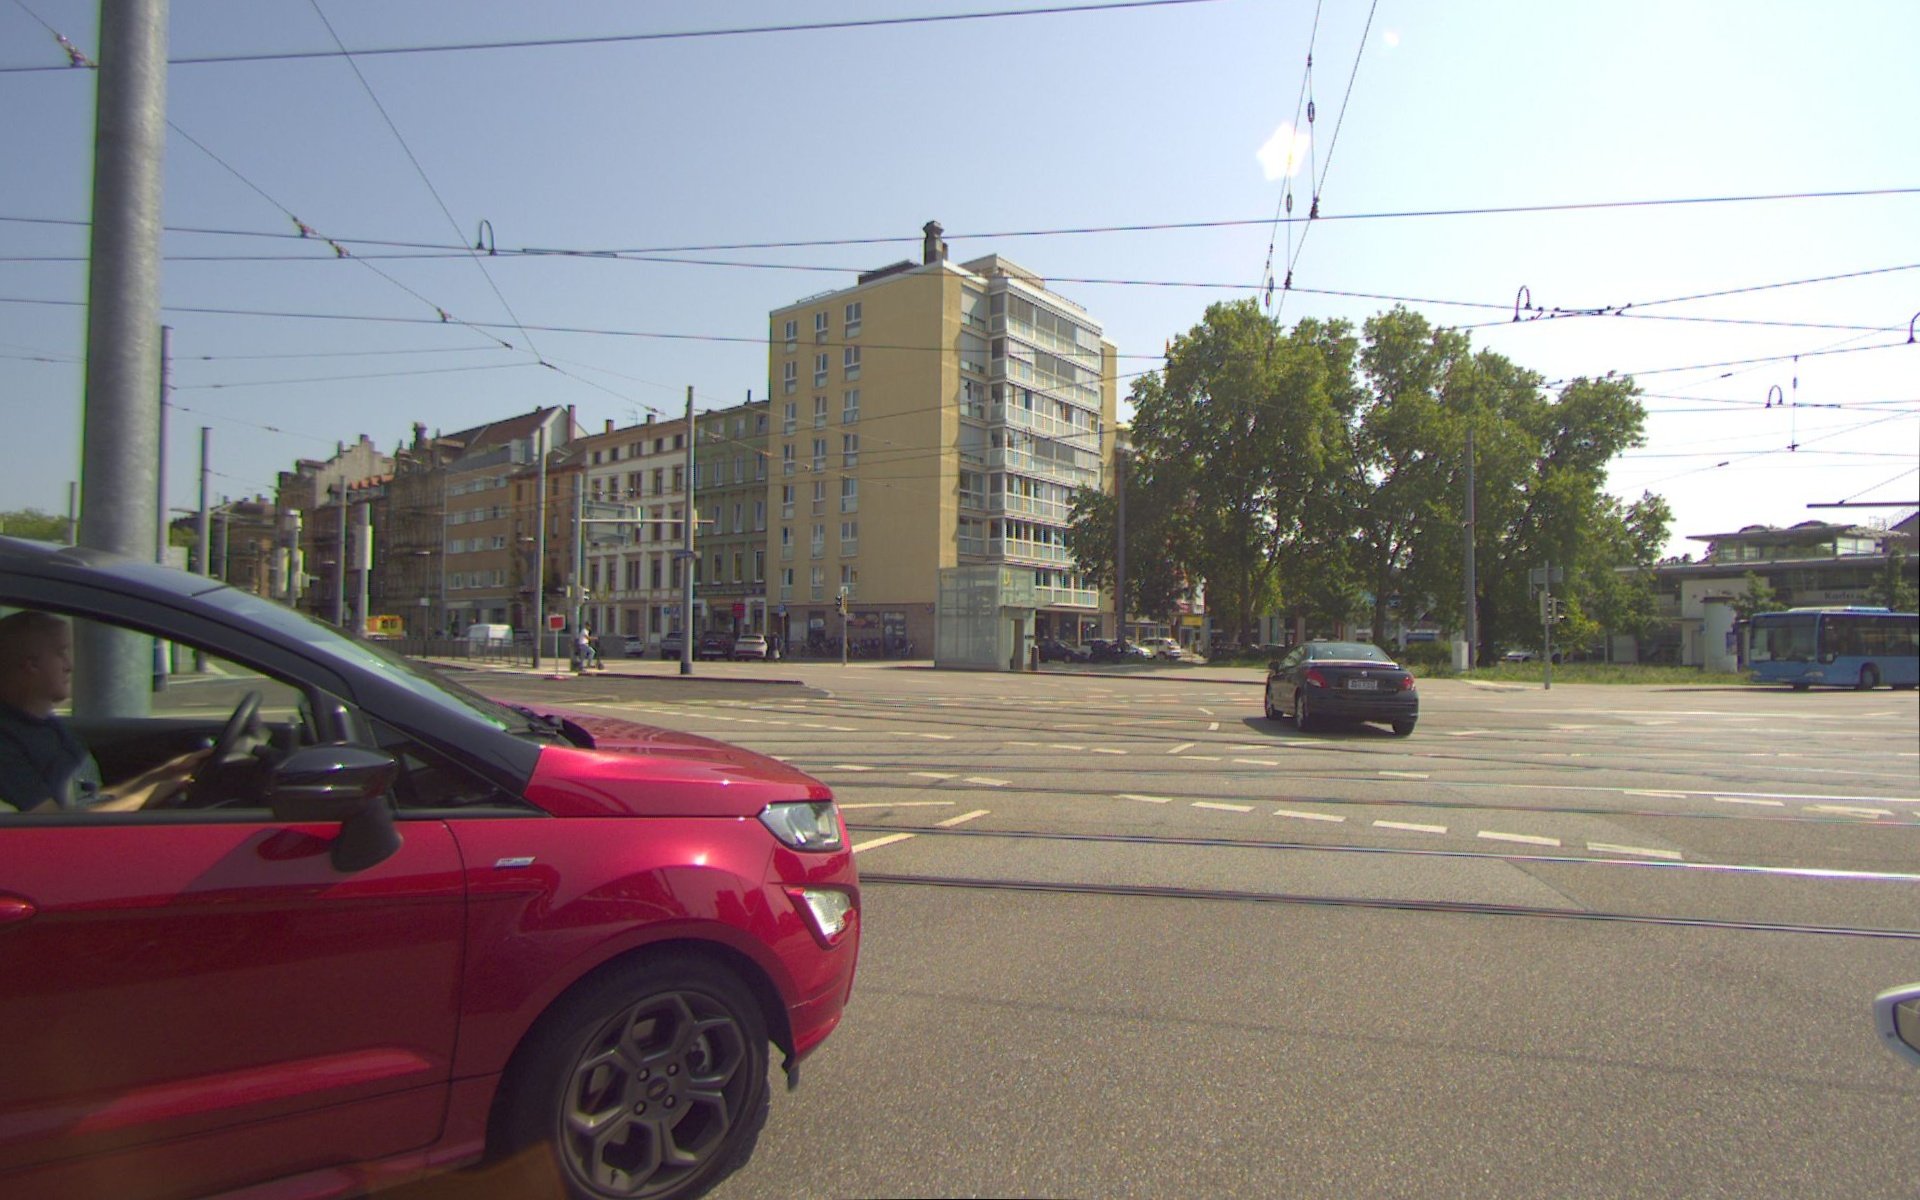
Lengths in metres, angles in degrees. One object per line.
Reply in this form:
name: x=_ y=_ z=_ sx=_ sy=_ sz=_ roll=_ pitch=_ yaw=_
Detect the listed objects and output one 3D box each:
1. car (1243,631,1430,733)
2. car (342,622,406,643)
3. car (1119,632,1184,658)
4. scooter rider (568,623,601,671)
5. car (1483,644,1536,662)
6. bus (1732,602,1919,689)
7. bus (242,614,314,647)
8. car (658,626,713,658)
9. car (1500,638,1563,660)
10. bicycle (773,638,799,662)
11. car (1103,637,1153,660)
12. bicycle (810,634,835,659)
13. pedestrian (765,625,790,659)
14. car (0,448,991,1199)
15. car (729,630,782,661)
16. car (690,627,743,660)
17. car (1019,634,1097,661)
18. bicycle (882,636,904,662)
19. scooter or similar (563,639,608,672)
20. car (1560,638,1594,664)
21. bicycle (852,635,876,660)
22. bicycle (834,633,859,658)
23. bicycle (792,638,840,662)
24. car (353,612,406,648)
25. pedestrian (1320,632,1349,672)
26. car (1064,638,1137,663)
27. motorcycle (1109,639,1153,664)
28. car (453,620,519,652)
car: x=6.021 y=1.255 z=16.558 sx=1.760 sy=1.450 sz=4.002 roll=1 pitch=-2 yaw=3
car: x=-44.346 y=2.467 z=75.957 sx=5.453 sy=1.305 sz=1.994 roll=2 pitch=-1 yaw=35
car: x=13.155 y=3.061 z=69.042 sx=4.008 sy=1.688 sz=1.784 roll=-1 pitch=-2 yaw=37
scooter rider: x=-13.516 y=1.698 z=36.141 sx=0.766 sy=1.695 sz=0.771 roll=-1 pitch=-2 yaw=36
car: x=47.593 y=4.601 z=87.029 sx=3.941 sy=1.528 sz=1.991 roll=1 pitch=-2 yaw=-21
bus: x=35.603 y=1.819 z=38.938 sx=11.889 sy=3.105 sz=2.724 roll=2 pitch=-2 yaw=-18
bus: x=-67.224 y=3.060 z=98.868 sx=12.247 sy=3.071 sz=2.531 roll=-1 pitch=-3 yaw=40
car: x=-15.932 y=2.443 z=58.532 sx=2.004 sy=1.736 sz=4.665 roll=1 pitch=-2 yaw=-2
car: x=47.096 y=4.031 z=82.832 sx=4.176 sy=1.776 sz=1.716 roll=1 pitch=-2 yaw=-1
bicycle: x=-9.655 y=2.778 z=55.723 sx=1.766 sy=1.313 sz=0.472 roll=-3 pitch=-3 yaw=42
car: x=11.223 y=3.241 z=67.205 sx=3.049 sy=1.447 sz=1.398 roll=-1 pitch=-2 yaw=37
bicycle: x=-8.342 y=2.814 z=61.245 sx=0.886 sy=1.423 sz=3.366 roll=1 pitch=-2 yaw=3
pedestrian: x=-9.645 y=2.225 z=53.170 sx=0.886 sy=1.726 sz=1.039 roll=1 pitch=-3 yaw=13
car: x=-2.076 y=0.591 z=2.416 sx=4.038 sy=1.639 sz=1.753 roll=2 pitch=-3 yaw=-33
car: x=-10.916 y=2.453 z=53.774 sx=1.771 sy=1.519 sz=3.789 roll=2 pitch=-4 yaw=4
car: x=-13.456 y=2.406 z=55.794 sx=1.948 sy=1.709 sz=4.392 roll=1 pitch=-2 yaw=-2
car: x=5.735 y=2.764 z=59.039 sx=4.179 sy=1.489 sz=1.899 roll=-1 pitch=-3 yaw=37
bicycle: x=-3.908 y=2.842 z=58.765 sx=0.886 sy=1.423 sz=3.366 roll=1 pitch=-2 yaw=3
scooter or similar: x=-13.472 y=1.981 z=36.161 sx=0.698 sy=1.163 sz=1.337 roll=-1 pitch=-2 yaw=37
car: x=52.621 y=4.312 z=85.648 sx=2.294 sy=2.040 sz=6.792 roll=2 pitch=-1 yaw=33
bicycle: x=-5.701 y=2.795 z=59.831 sx=0.886 sy=1.423 sz=3.366 roll=1 pitch=-2 yaw=3
bicycle: x=-6.771 y=2.723 z=60.045 sx=0.886 sy=1.423 sz=3.366 roll=1 pitch=-2 yaw=3
bicycle: x=-9.032 y=3.104 z=62.996 sx=3.310 sy=1.423 sz=0.901 roll=-1 pitch=-2 yaw=37
car: x=-48.253 y=2.479 z=83.401 sx=5.521 sy=2.927 sz=2.293 roll=-1 pitch=-2 yaw=43
pedestrian: x=15.644 y=2.167 z=41.956 sx=0.934 sy=1.630 sz=0.791 roll=-2 pitch=-2 yaw=36
car: x=8.806 y=3.124 z=62.972 sx=4.179 sy=1.489 sz=1.899 roll=-1 pitch=-3 yaw=37
motorcycle: x=8.281 y=2.488 z=48.718 sx=0.904 sy=1.151 sz=2.089 roll=2 pitch=-3 yaw=-38
car: x=-27.053 y=2.079 z=57.274 sx=3.938 sy=1.803 sz=1.789 roll=-2 pitch=-4 yaw=38
